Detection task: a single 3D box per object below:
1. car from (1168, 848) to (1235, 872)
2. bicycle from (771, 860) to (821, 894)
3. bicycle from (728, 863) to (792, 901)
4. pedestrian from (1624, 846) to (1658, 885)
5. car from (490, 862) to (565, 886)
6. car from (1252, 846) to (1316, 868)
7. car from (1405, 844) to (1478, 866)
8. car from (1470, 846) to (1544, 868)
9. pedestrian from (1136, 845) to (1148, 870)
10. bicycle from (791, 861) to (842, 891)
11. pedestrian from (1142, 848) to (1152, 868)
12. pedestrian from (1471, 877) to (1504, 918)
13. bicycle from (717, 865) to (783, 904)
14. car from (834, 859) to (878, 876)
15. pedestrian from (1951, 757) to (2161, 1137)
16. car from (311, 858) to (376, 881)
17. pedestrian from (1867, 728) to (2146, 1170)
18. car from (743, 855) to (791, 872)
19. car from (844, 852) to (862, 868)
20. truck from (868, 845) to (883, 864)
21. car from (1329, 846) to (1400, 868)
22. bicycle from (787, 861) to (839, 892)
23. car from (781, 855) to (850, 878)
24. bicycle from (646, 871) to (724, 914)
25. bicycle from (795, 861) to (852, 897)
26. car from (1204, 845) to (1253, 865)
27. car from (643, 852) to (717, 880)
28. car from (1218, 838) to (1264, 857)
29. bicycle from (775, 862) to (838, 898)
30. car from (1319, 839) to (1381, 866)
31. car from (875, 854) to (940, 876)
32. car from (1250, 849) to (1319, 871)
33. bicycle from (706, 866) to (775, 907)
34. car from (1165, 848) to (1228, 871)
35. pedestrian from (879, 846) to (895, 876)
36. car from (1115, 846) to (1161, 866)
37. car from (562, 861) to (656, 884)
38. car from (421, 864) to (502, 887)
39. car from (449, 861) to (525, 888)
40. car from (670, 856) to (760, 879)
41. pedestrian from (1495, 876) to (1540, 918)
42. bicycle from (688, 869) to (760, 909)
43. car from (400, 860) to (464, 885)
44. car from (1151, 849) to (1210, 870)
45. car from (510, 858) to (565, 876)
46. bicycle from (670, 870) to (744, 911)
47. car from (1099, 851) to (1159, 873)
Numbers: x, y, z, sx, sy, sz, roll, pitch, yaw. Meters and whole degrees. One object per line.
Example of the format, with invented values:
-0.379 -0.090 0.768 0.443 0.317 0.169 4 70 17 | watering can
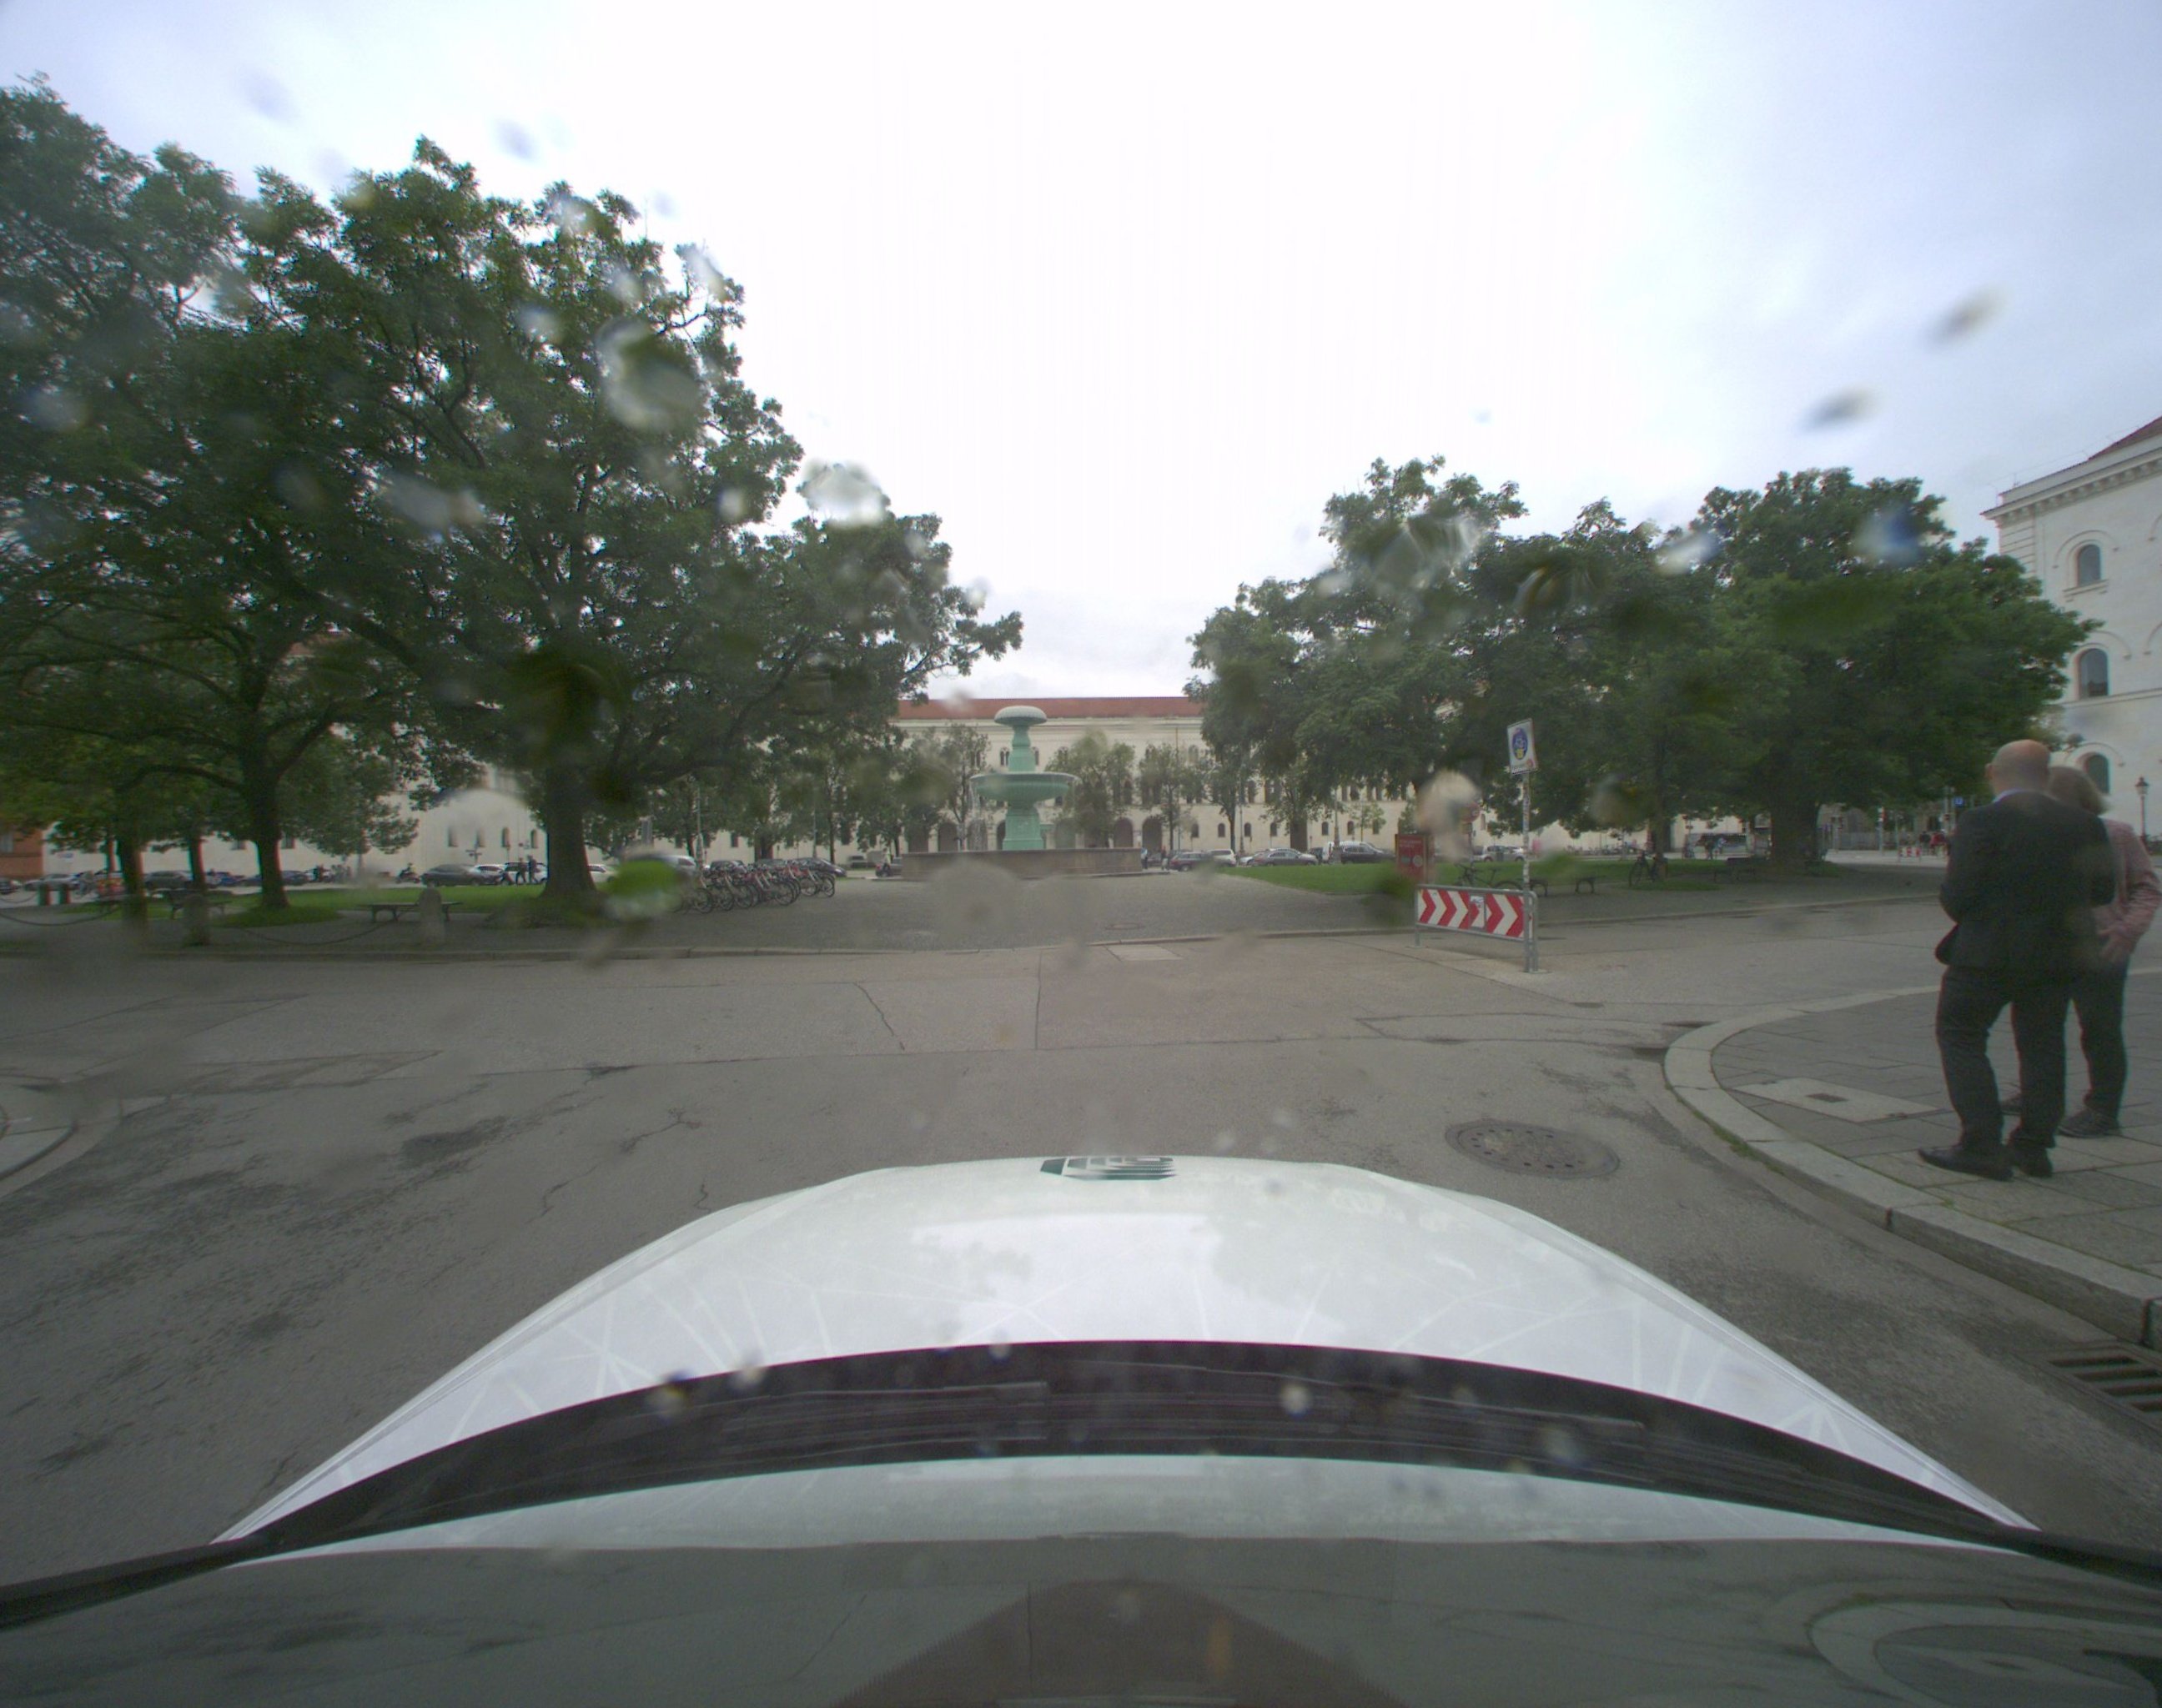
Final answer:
8.284 0.398 56.413 4.346 1.524 1.802 -1 0 -2 | car
-9.384 0.741 26.813 1.393 1.099 0.658 0 0 8 | bicycle
-9.540 0.835 24.232 1.609 1.099 0.700 0 0 8 | bicycle
15.429 0.317 22.441 0.528 1.065 0.618 0 0 1 | pedestrian
-36.298 1.303 53.480 3.665 1.376 1.600 -1 0 -5 | car
15.184 0.221 61.142 4.346 1.524 1.802 -1 0 -2 | car
25.455 0.048 57.595 4.346 1.418 1.802 -1 0 -2 | car
30.254 0.178 57.897 4.346 1.418 1.802 -1 0 -2 | car
3.654 0.203 48.941 0.577 1.465 0.551 -1 0 20 | pedestrian
-9.250 0.751 28.484 1.527 1.019 0.700 0 0 8 | bicycle
4.022 0.232 49.901 0.439 1.214 0.538 -1 0 23 | pedestrian
7.846 0.829 15.740 0.413 0.762 0.460 0 0 1 | pedestrian
-9.474 0.867 23.334 1.609 1.099 0.700 0 0 8 | bicycle
-20.627 1.212 74.680 3.667 1.376 1.599 -1 0 -6 | car
4.772 0.409 3.925 0.620 1.681 0.544 0 0 -9 | pedestrian
-67.243 1.396 74.308 3.980 2.013 1.997 -1 0 -5 | car
4.037 0.390 3.590 0.639 1.808 0.489 -1 0 2 | pedestrian
-27.887 0.815 72.352 3.665 1.376 1.600 -1 0 -5 | car
-29.751 0.743 106.131 2.136 2.013 4.168 -1 0 -16 | car
-27.477 0.077 108.928 1.996 2.488 3.981 0 0 -14 | truck
19.799 0.181 56.980 4.346 1.418 1.802 -1 0 -2 | car
-9.110 0.759 27.696 1.527 1.019 0.700 0 0 8 | bicycle
-17.764 0.837 54.647 3.980 1.376 1.997 -1 0 -5 | car
-9.817 0.948 20.233 1.609 1.035 0.700 0 0 8 | bicycle
-8.157 0.791 25.820 1.609 1.099 0.617 0 0 8 | bicycle
13.560 0.108 74.957 4.093 1.741 1.742 -1 0 -7 | car
-30.316 0.881 61.716 4.535 2.013 1.994 -1 0 -9 | car
15.451 -0.621 78.880 3.980 1.783 1.928 -1 0 -5 | car
-8.459 0.799 25.130 1.700 1.099 0.700 0 0 8 | bicycle
21.313 -0.119 64.574 4.312 2.013 1.824 0 0 0 | car
-11.717 0.749 55.220 3.980 1.376 1.997 -1 0 -5 | car
14.161 0.389 56.873 4.346 1.418 1.802 -1 0 -2 | car
-9.423 0.888 22.551 1.609 1.099 0.700 0 0 8 | bicycle
8.487 0.406 59.902 4.346 1.524 1.802 -1 0 -2 | car
-10.888 0.379 45.734 0.749 1.640 0.709 -1 0 -4 | pedestrian
5.228 0.200 74.596 3.979 1.750 1.806 -1 0 -4 | car
-31.213 1.211 54.027 4.959 1.376 1.997 -1 0 -5 | car
-40.391 1.374 53.172 3.899 1.376 1.600 -1 0 -5 | car
-42.679 1.437 58.591 3.987 1.862 1.851 -1 0 -10 | car
-24.493 0.904 54.590 5.064 1.376 1.997 -1 0 -5 | car
8.433 0.824 15.747 0.567 0.762 0.567 0 0 1 | pedestrian
-9.549 0.926 21.812 1.609 1.035 0.700 0 0 8 | bicycle
-51.206 1.446 64.328 3.554 1.896 1.729 -1 0 -8 | car
7.786 0.415 63.819 4.346 1.524 1.802 -1 0 -2 | car
-42.817 1.014 64.246 3.242 1.376 1.508 -1 0 -5 | car
-9.670 0.940 21.068 1.609 1.035 0.700 0 0 8 | bicycle
3.305 0.532 56.566 3.975 1.403 1.824 -2 0 -1 | car
